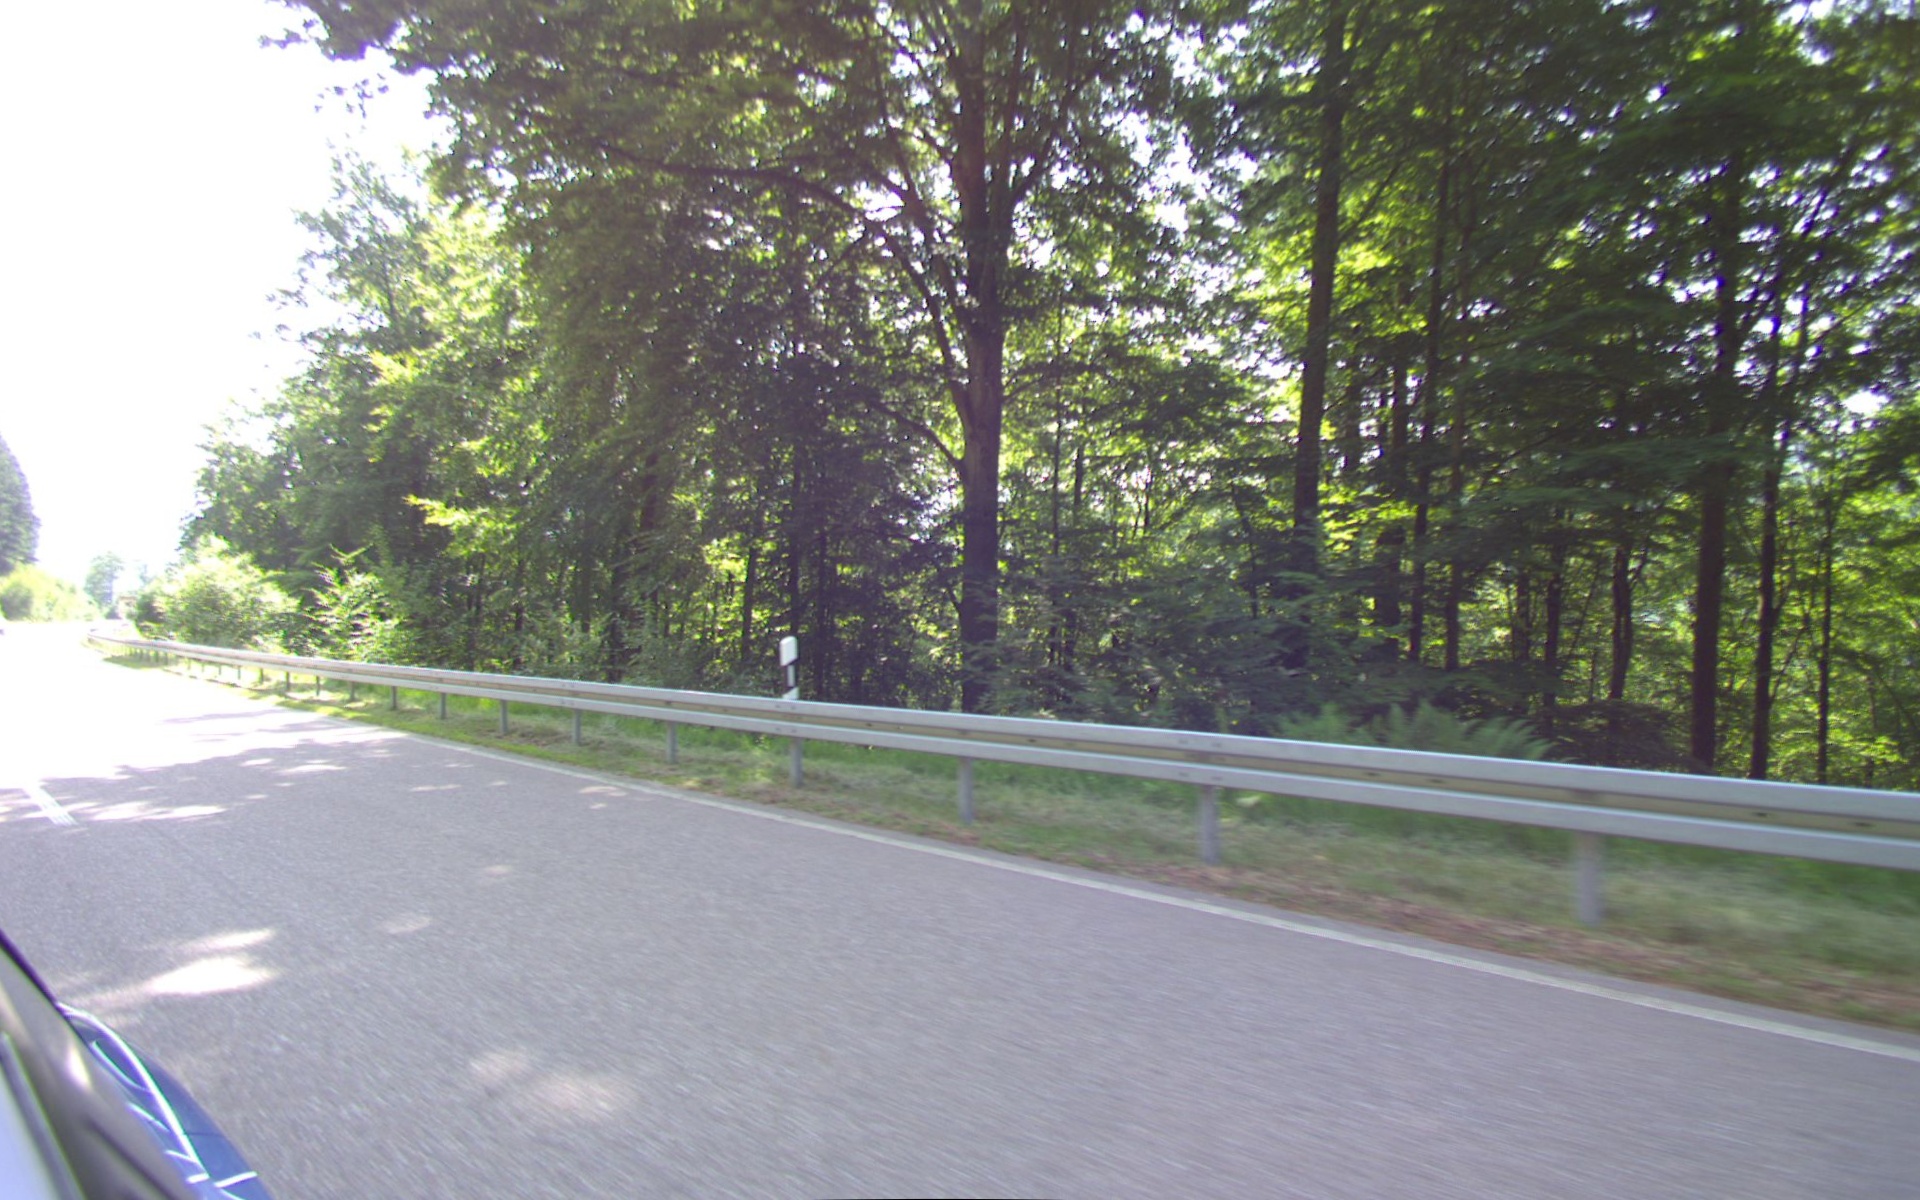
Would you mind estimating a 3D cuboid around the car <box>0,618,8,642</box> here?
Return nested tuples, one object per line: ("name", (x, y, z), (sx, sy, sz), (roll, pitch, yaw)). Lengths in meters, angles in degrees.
("car", (-72.296, 2.249, 75.393), (1.970, 1.741, 4.004), (0, -1, -43))
